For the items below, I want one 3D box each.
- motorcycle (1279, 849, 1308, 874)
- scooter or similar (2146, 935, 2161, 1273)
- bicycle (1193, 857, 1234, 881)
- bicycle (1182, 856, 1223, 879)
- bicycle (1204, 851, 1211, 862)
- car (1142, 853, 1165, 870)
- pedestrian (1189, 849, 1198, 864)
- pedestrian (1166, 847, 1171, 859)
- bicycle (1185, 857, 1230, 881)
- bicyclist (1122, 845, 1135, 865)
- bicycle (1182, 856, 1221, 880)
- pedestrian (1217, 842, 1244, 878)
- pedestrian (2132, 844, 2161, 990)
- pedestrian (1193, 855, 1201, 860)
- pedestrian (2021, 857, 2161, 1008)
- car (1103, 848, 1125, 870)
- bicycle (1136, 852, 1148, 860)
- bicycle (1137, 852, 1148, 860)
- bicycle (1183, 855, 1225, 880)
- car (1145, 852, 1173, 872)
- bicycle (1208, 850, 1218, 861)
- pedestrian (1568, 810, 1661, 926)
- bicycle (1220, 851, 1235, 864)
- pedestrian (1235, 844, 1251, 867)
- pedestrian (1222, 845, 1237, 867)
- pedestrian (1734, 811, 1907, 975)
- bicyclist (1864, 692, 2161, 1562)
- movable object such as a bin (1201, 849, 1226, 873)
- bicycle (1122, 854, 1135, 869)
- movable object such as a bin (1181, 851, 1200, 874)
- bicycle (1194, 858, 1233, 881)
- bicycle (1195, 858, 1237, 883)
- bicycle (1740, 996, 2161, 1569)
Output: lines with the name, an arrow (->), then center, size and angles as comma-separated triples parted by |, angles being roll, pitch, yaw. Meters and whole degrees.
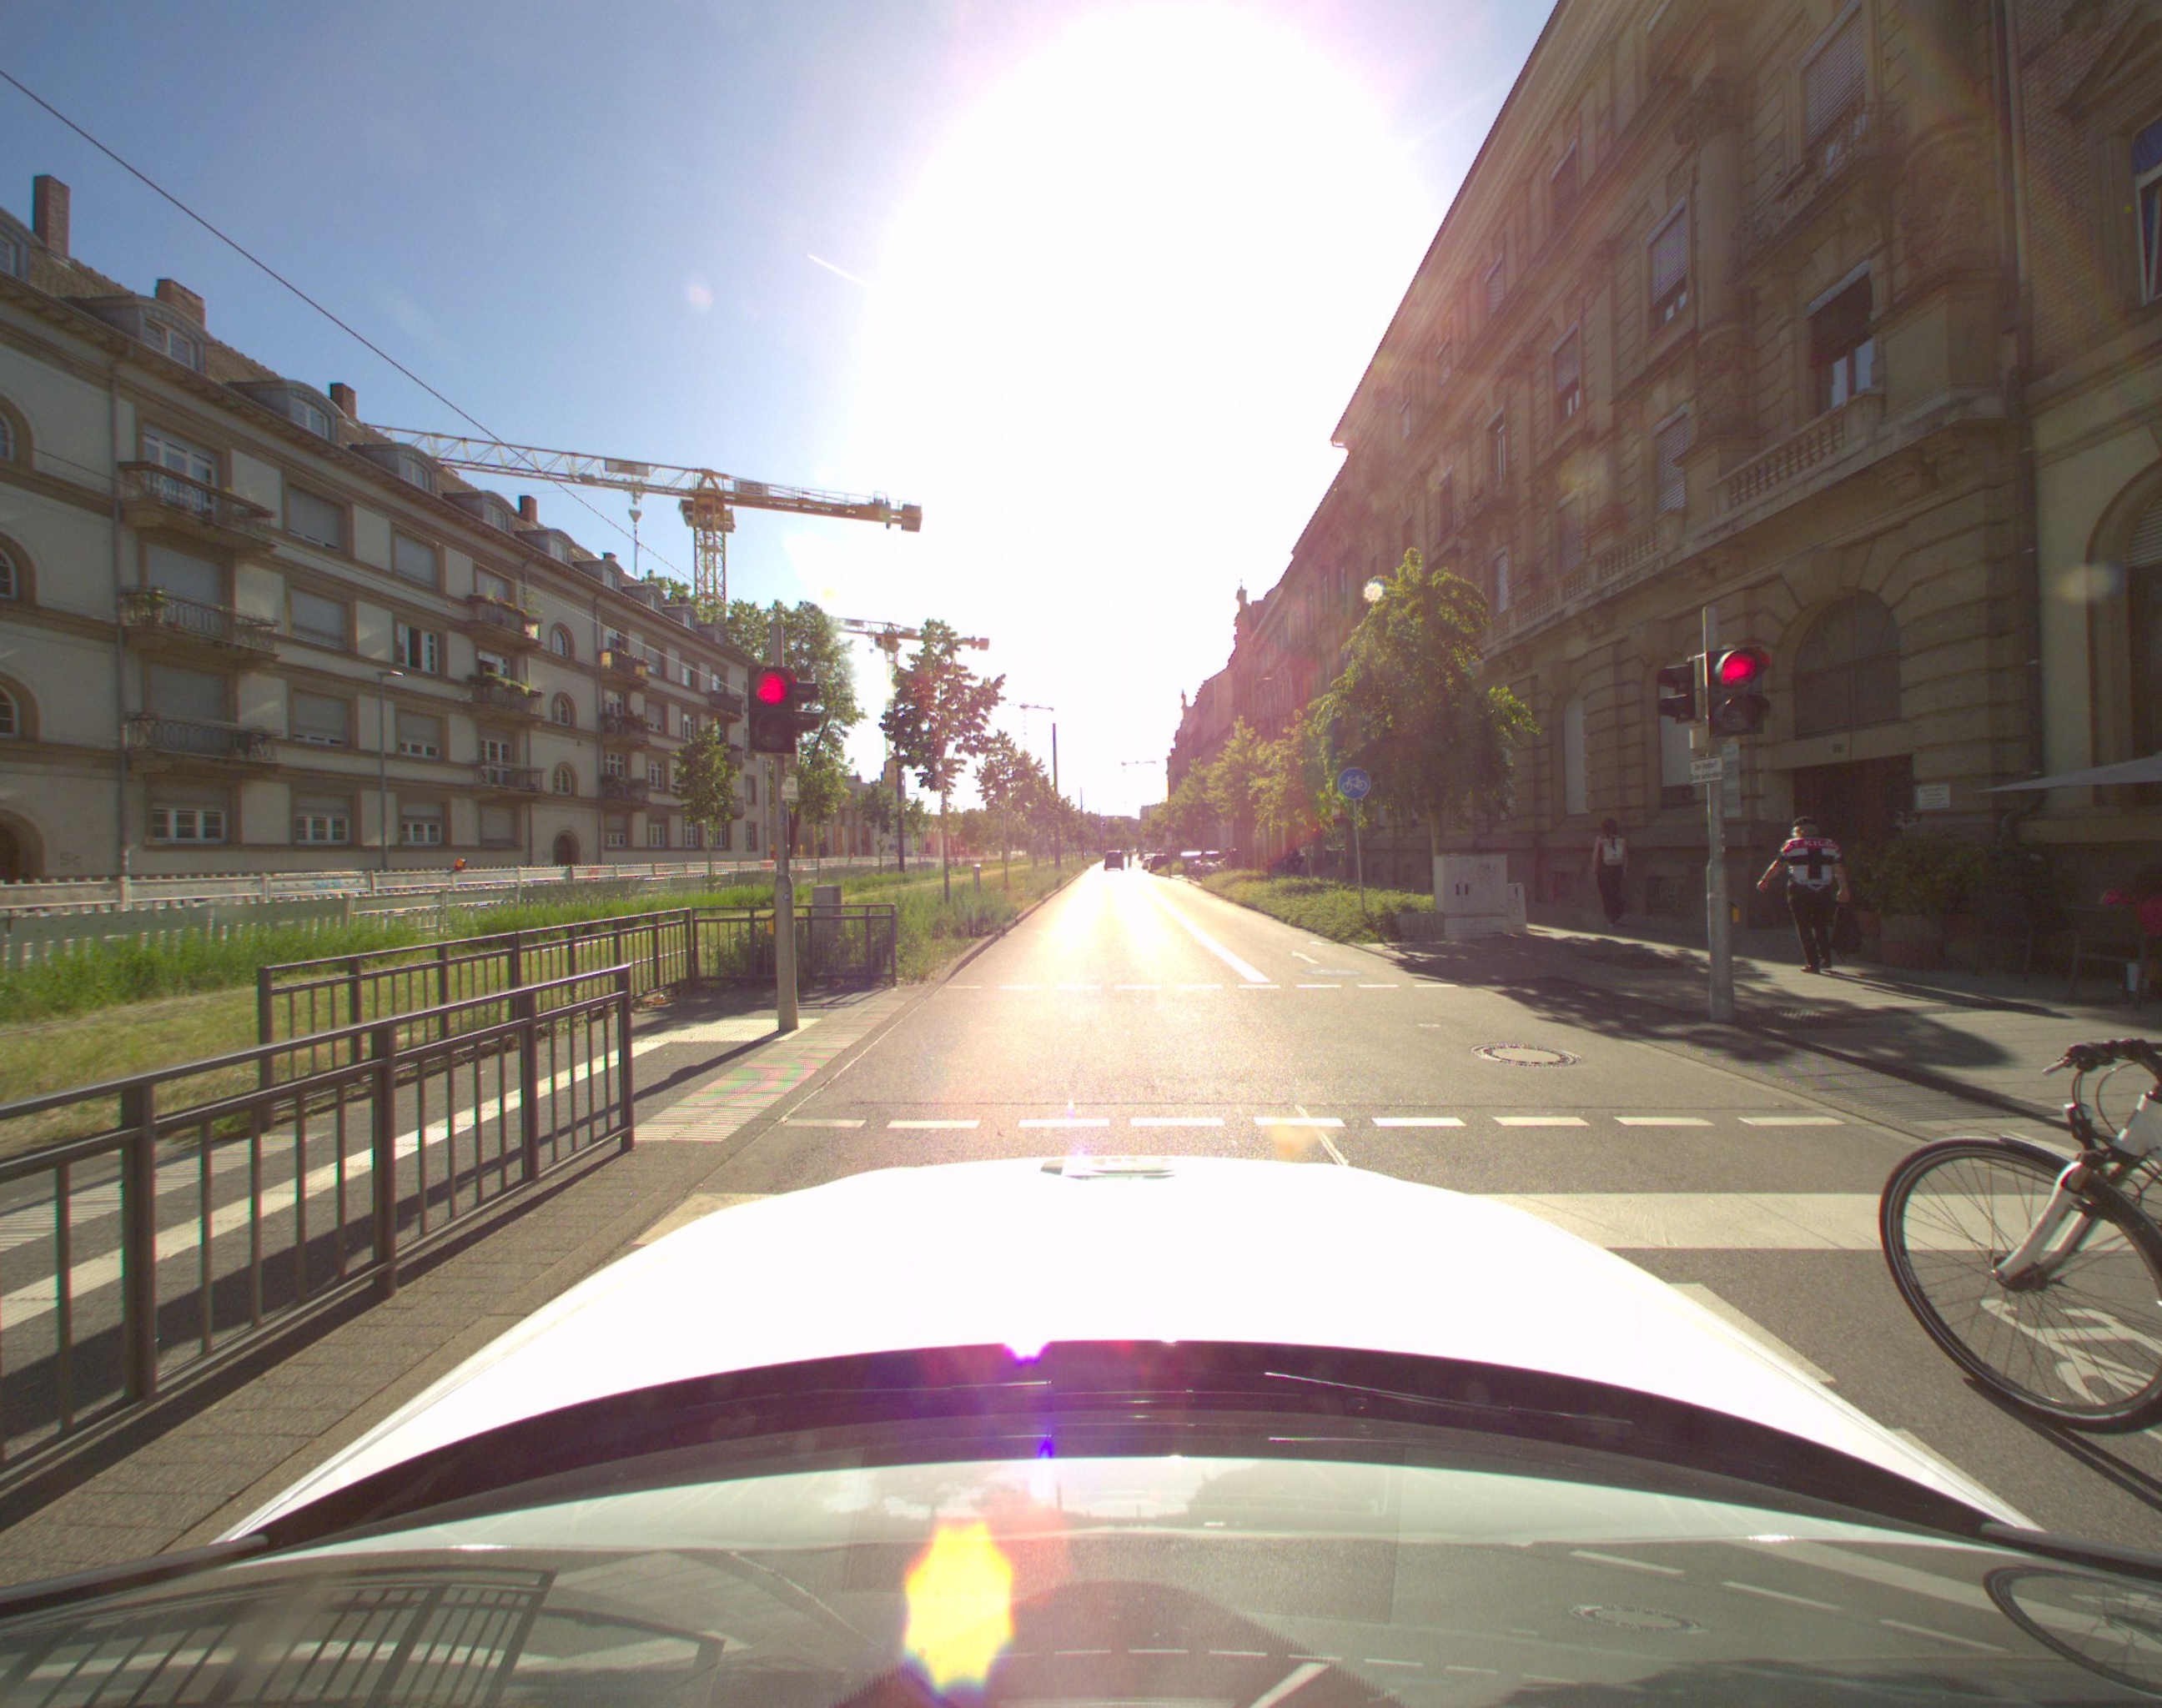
motorcycle -> 11.520, 0.406, 44.251 | 0.862, 1.266, 2.983 | 0, -1, 2
scooter or similar -> 4.068, 0.861, 2.286 | 0.644, 1.158, 1.149 | 0, 0, -4
bicycle -> 6.723, 0.744, 41.423 | 1.971, 1.108, 0.435 | -3, -1, -1
bicycle -> 6.577, 0.732, 44.022 | 2.040, 1.107, 0.610 | -4, 0, -4
bicycle -> 13.690, 0.246, 88.243 | 0.479, 1.090, 2.058 | -3, 0, 2
car -> 7.065, 0.721, 80.278 | 1.944, 1.495, 5.108 | -3, 0, 2
pedestrian -> 12.940, 0.258, 93.824 | 0.992, 1.731, 0.866 | 0, -1, 1
pedestrian -> 15.026, -0.129, 139.849 | 0.814, 2.014, 1.046 | 0, -3, 2
bicycle -> 6.617, 0.782, 42.592 | 2.287, 1.102, 0.484 | -3, 0, -13
bicyclist -> 4.814, 0.133, 82.455 | 1.205, 2.015, 1.642 | 0, -1, 2
bicycle -> 6.586, 0.738, 44.430 | 1.970, 1.124, 0.481 | -5, 1, -4
pedestrian -> 7.607, 0.301, 41.360 | 0.851, 1.735, 0.895 | -5, 0, -26
pedestrian -> 9.864, 0.543, 6.899 | 0.722, 1.282, 0.888 | -2, -1, 1
pedestrian -> 14.337, 0.462, 100.703 | 0.770, 0.553, 2.008 | -2, 1, 2
pedestrian -> 8.912, 0.631, 6.956 | 0.715, 1.183, 0.881 | -2, -1, 1
car -> 3.084, 0.496, 76.287 | 1.986, 2.014, 4.001 | 0, -1, 2
bicycle -> 10.271, 0.278, 137.612 | 1.875, 1.233, 0.499 | -4, -1, -4
bicycle -> 10.466, 0.352, 139.143 | 1.821, 1.078, 0.664 | -4, 0, -4
bicycle -> 6.487, 0.708, 42.940 | 2.148, 1.154, 0.428 | -5, 0, -12
car -> 6.464, 0.660, 67.577 | 1.760, 1.477, 4.447 | -4, -1, -1
bicycle -> 13.595, 0.197, 83.884 | 0.718, 1.090, 2.200 | -3, 0, 2
pedestrian -> 9.402, 0.237, 14.394 | 0.885, 1.920, 1.100 | -3, 0, 7
bicycle -> 13.062, 0.315, 72.753 | 0.873, 1.105, 2.181 | -4, 0, -1
pedestrian -> 12.264, 0.091, 61.694 | 0.967, 1.639, 0.993 | -3, 1, 2
pedestrian -> 11.245, 0.149, 61.687 | 0.947, 1.566, 1.080 | -2, 1, 1
pedestrian -> 8.203, 0.417, 9.115 | 0.962, 1.692, 1.118 | -3, 0, 16
bicyclist -> 2.610, 0.569, 1.780 | 0.722, 1.817, 1.088 | 0, 0, -7
movable object such as a bin -> 8.923, 0.468, 54.803 | 1.368, 1.495, 1.750 | -4, -1, 3
bicycle -> 4.798, 0.744, 82.462 | 1.205, 1.464, 4.001 | 0, -1, 2
movable object such as a bin -> 7.327, 0.535, 54.668 | 1.264, 1.463, 1.647 | 0, 2, 7
bicycle -> 6.668, 0.775, 41.081 | 1.811, 1.056, 0.571 | -3, -1, -4
bicycle -> 6.572, 0.779, 39.609 | 1.887, 1.108, 0.517 | -3, -1, -4
bicycle -> 2.617, 0.989, 1.734 | 0.722, 1.006, 1.948 | 0, 0, -6
